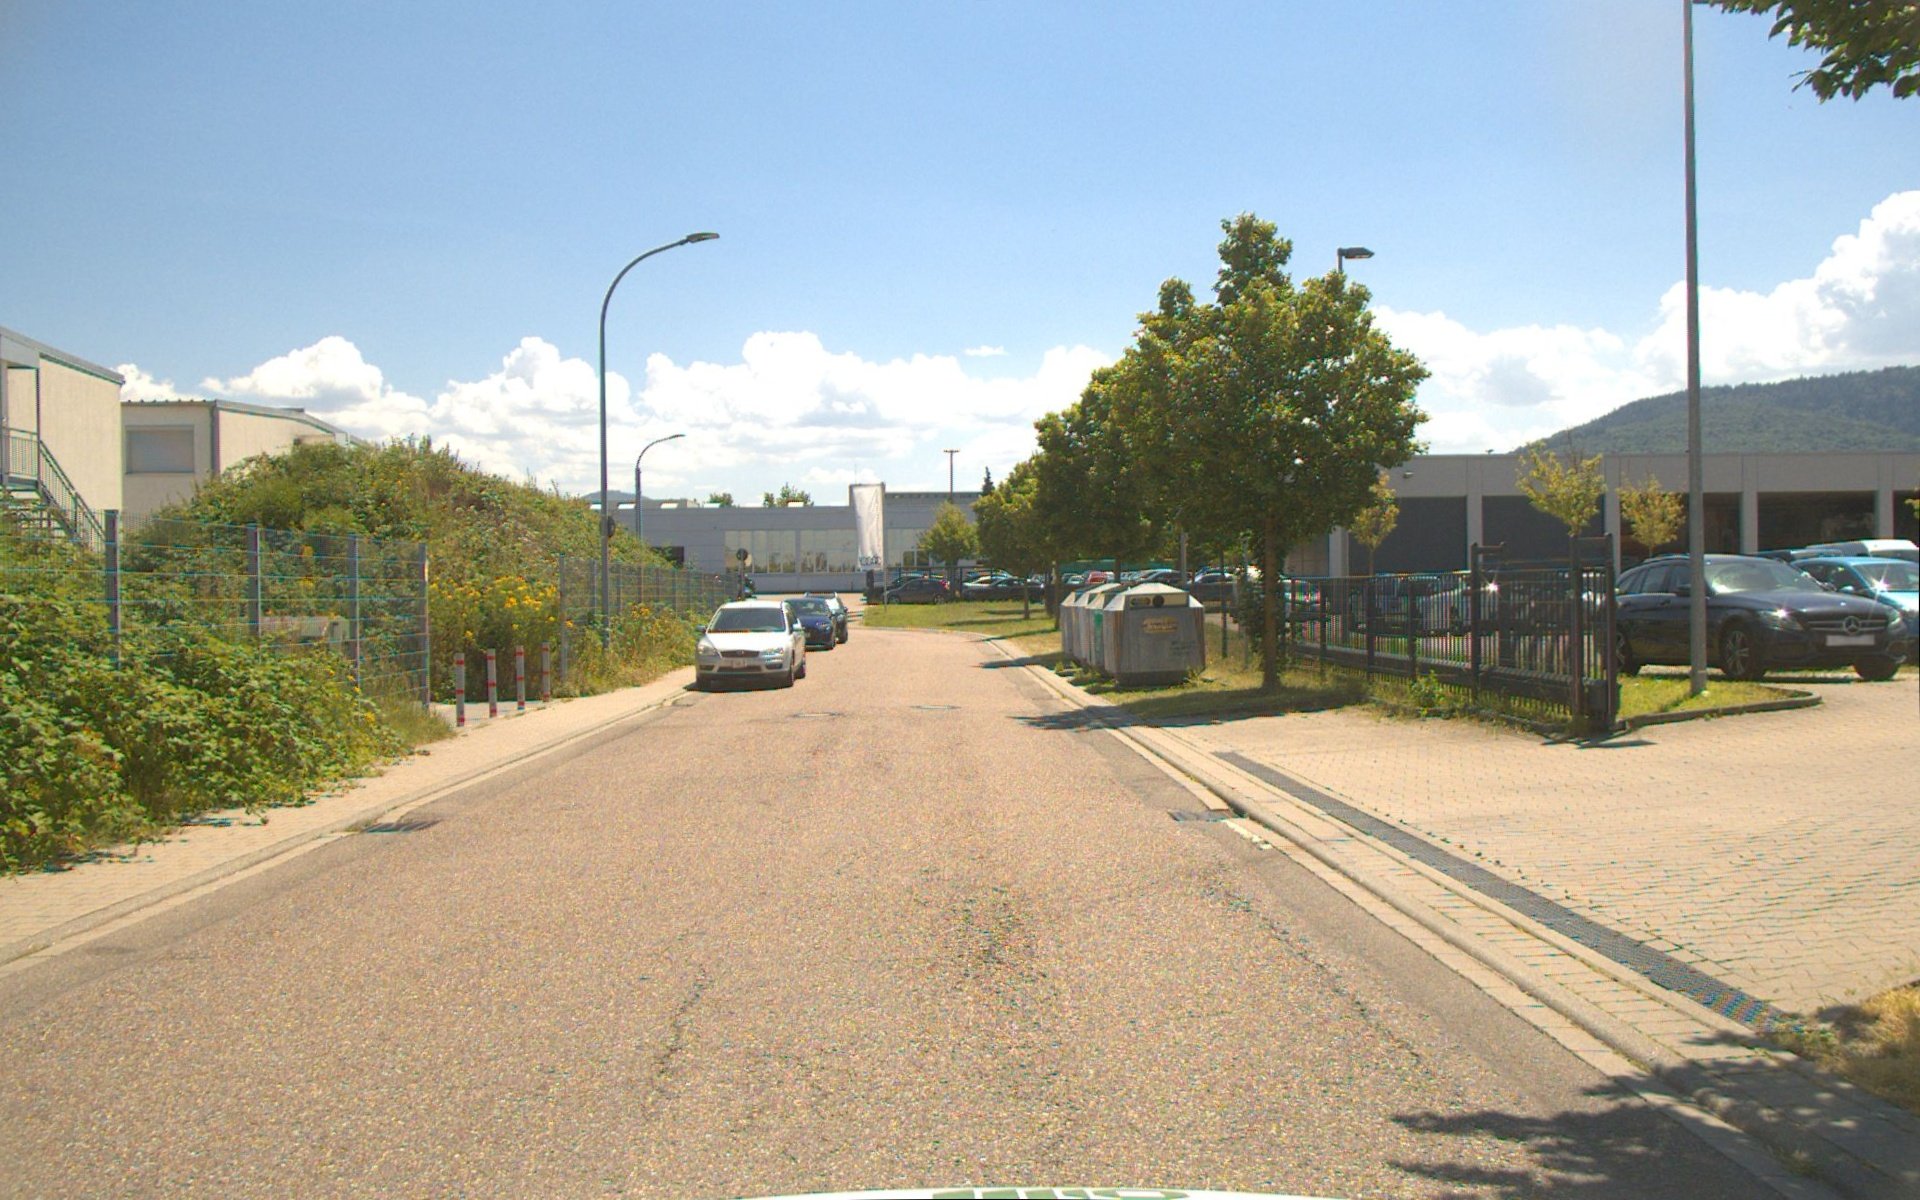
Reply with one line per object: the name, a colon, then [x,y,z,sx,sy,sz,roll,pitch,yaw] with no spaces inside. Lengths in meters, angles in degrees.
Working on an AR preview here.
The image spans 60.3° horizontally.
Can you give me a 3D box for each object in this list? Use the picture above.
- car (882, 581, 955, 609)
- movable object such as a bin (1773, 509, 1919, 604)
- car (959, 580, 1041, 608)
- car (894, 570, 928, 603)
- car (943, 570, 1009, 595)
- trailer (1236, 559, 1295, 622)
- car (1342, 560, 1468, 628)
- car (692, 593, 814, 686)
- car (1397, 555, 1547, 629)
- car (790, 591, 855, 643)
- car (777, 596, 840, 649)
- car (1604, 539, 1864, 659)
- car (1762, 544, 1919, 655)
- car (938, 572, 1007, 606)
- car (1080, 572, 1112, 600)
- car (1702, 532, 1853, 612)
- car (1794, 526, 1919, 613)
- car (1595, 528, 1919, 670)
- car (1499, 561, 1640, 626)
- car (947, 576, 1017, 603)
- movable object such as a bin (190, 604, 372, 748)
car: [-2.302,-0.266,90.380,3.907,1.423,1.998,-1,-2,-3]
movable object such as a bin: [40.998,-1.915,75.206,3.470,4.043,8.662,-1,1,-3]
car: [2.179,-0.330,90.413,4.350,1.423,1.998,-1,-2,-3]
car: [-2.995,-0.812,100.364,1.954,1.859,3.997,-1,-2,-3]
car: [0.948,-1.049,100.969,3.907,1.423,1.998,-1,-2,-3]
trailer: [10.679,-0.369,57.958,1.462,2.041,3.265,-1,3,0]
car: [11.113,-0.201,41.627,1.754,1.557,4.419,-1,2,-4]
car: [-3.795,0.686,30.956,1.796,1.573,4.366,-1,0,-1]
car: [11.066,-0.131,36.046,1.754,1.458,4.139,-1,-2,-4]
car: [-4.377,0.512,53.229,1.796,1.573,4.263,-1,0,-1]
car: [-4.373,0.627,48.136,1.623,1.442,4.143,-1,0,-3]
car: [11.578,-0.094,25.090,1.754,1.651,4.239,-1,2,-4]
car: [14.185,-0.077,25.372,1.613,1.518,4.021,-1,2,-4]
car: [0.708,-0.655,97.044,3.907,1.859,1.998,-1,-2,-3]
car: [10.080,-1.013,122.665,1.953,1.859,3.998,-1,-2,-2]
car: [27.274,-0.880,55.439,1.843,2.303,5.651,-1,-2,-4]
car: [29.944,-0.946,54.402,1.843,2.521,5.500,-1,-2,-4]
car: [9.417,0.049,19.707,1.754,1.480,4.406,-1,-2,-4]
car: [15.431,-0.221,42.141,1.754,1.507,4.419,-1,2,-4]
car: [1.232,-0.577,95.396,3.907,1.423,1.998,-1,-2,-3]
movable object such as a bin: [-7.497,0.808,18.384,1.277,1.503,1.838,-1,0,-1]
